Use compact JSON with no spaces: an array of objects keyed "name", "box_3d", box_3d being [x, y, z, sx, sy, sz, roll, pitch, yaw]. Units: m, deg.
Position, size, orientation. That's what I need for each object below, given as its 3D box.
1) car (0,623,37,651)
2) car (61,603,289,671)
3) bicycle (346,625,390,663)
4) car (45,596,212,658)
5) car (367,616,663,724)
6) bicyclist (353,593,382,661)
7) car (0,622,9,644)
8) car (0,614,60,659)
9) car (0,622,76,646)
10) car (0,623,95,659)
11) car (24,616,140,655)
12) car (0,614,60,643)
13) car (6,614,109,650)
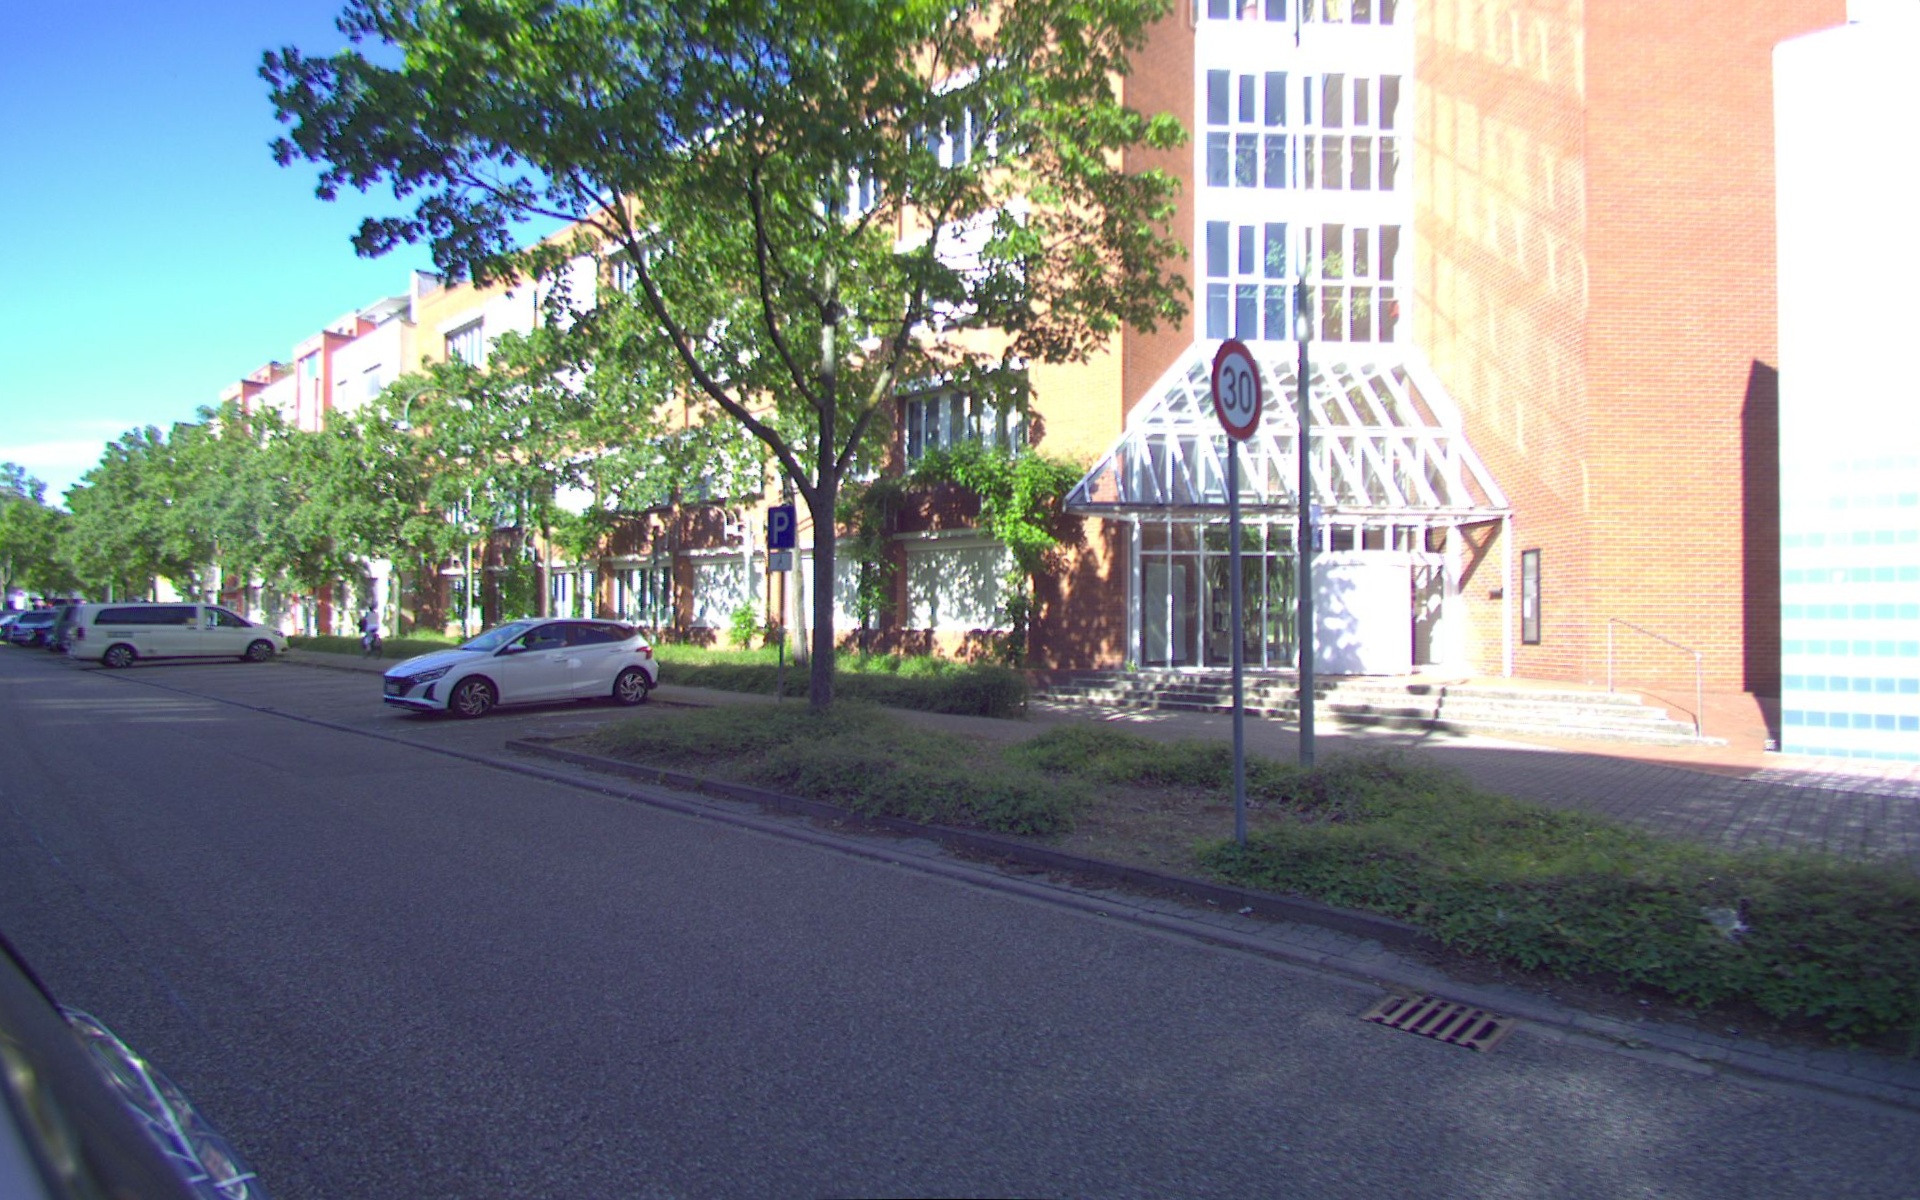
[{"name":"car","box_3d":[-58.895,2.269,61.920,1.594,1.669,3.406,-1,-2,41]},{"name":"car","box_3d":[-23.730,1.055,30.784,2.000,1.901,5.246,-1,-1,43]},{"name":"bicycle","box_3d":[-18.023,1.329,30.796,0.628,1.107,2.157,2,-3,-44]},{"name":"car","box_3d":[-31.084,1.032,37.926,2.000,2.185,4.572,-1,-3,43]},{"name":"car","box_3d":[-6.845,0.991,15.869,1.617,1.430,3.952,-1,-1,41]},{"name":"bicyclist","box_3d":[-18.024,0.802,30.791,0.625,2.029,0.609,-1,0,-45]},{"name":"car","box_3d":[-64.636,2.159,66.275,1.514,1.484,3.301,-1,-2,41]},{"name":"car","box_3d":[-36.442,1.368,37.879,1.795,1.659,3.953,-1,-2,43]},{"name":"car","box_3d":[-51.926,1.908,56.690,1.594,1.299,3.406,-1,-2,41]},{"name":"car","box_3d":[-43.888,1.966,48.570,1.594,1.669,3.406,-1,-2,41]},{"name":"car","box_3d":[-36.335,1.462,41.922,1.594,1.567,3.406,-1,-2,41]},{"name":"car","box_3d":[-55.916,1.715,60.169,1.594,1.669,3.406,-1,-2,41]},{"name":"car","box_3d":[-42.211,1.504,47.390,1.594,1.641,3.406,-1,-2,41]}]
